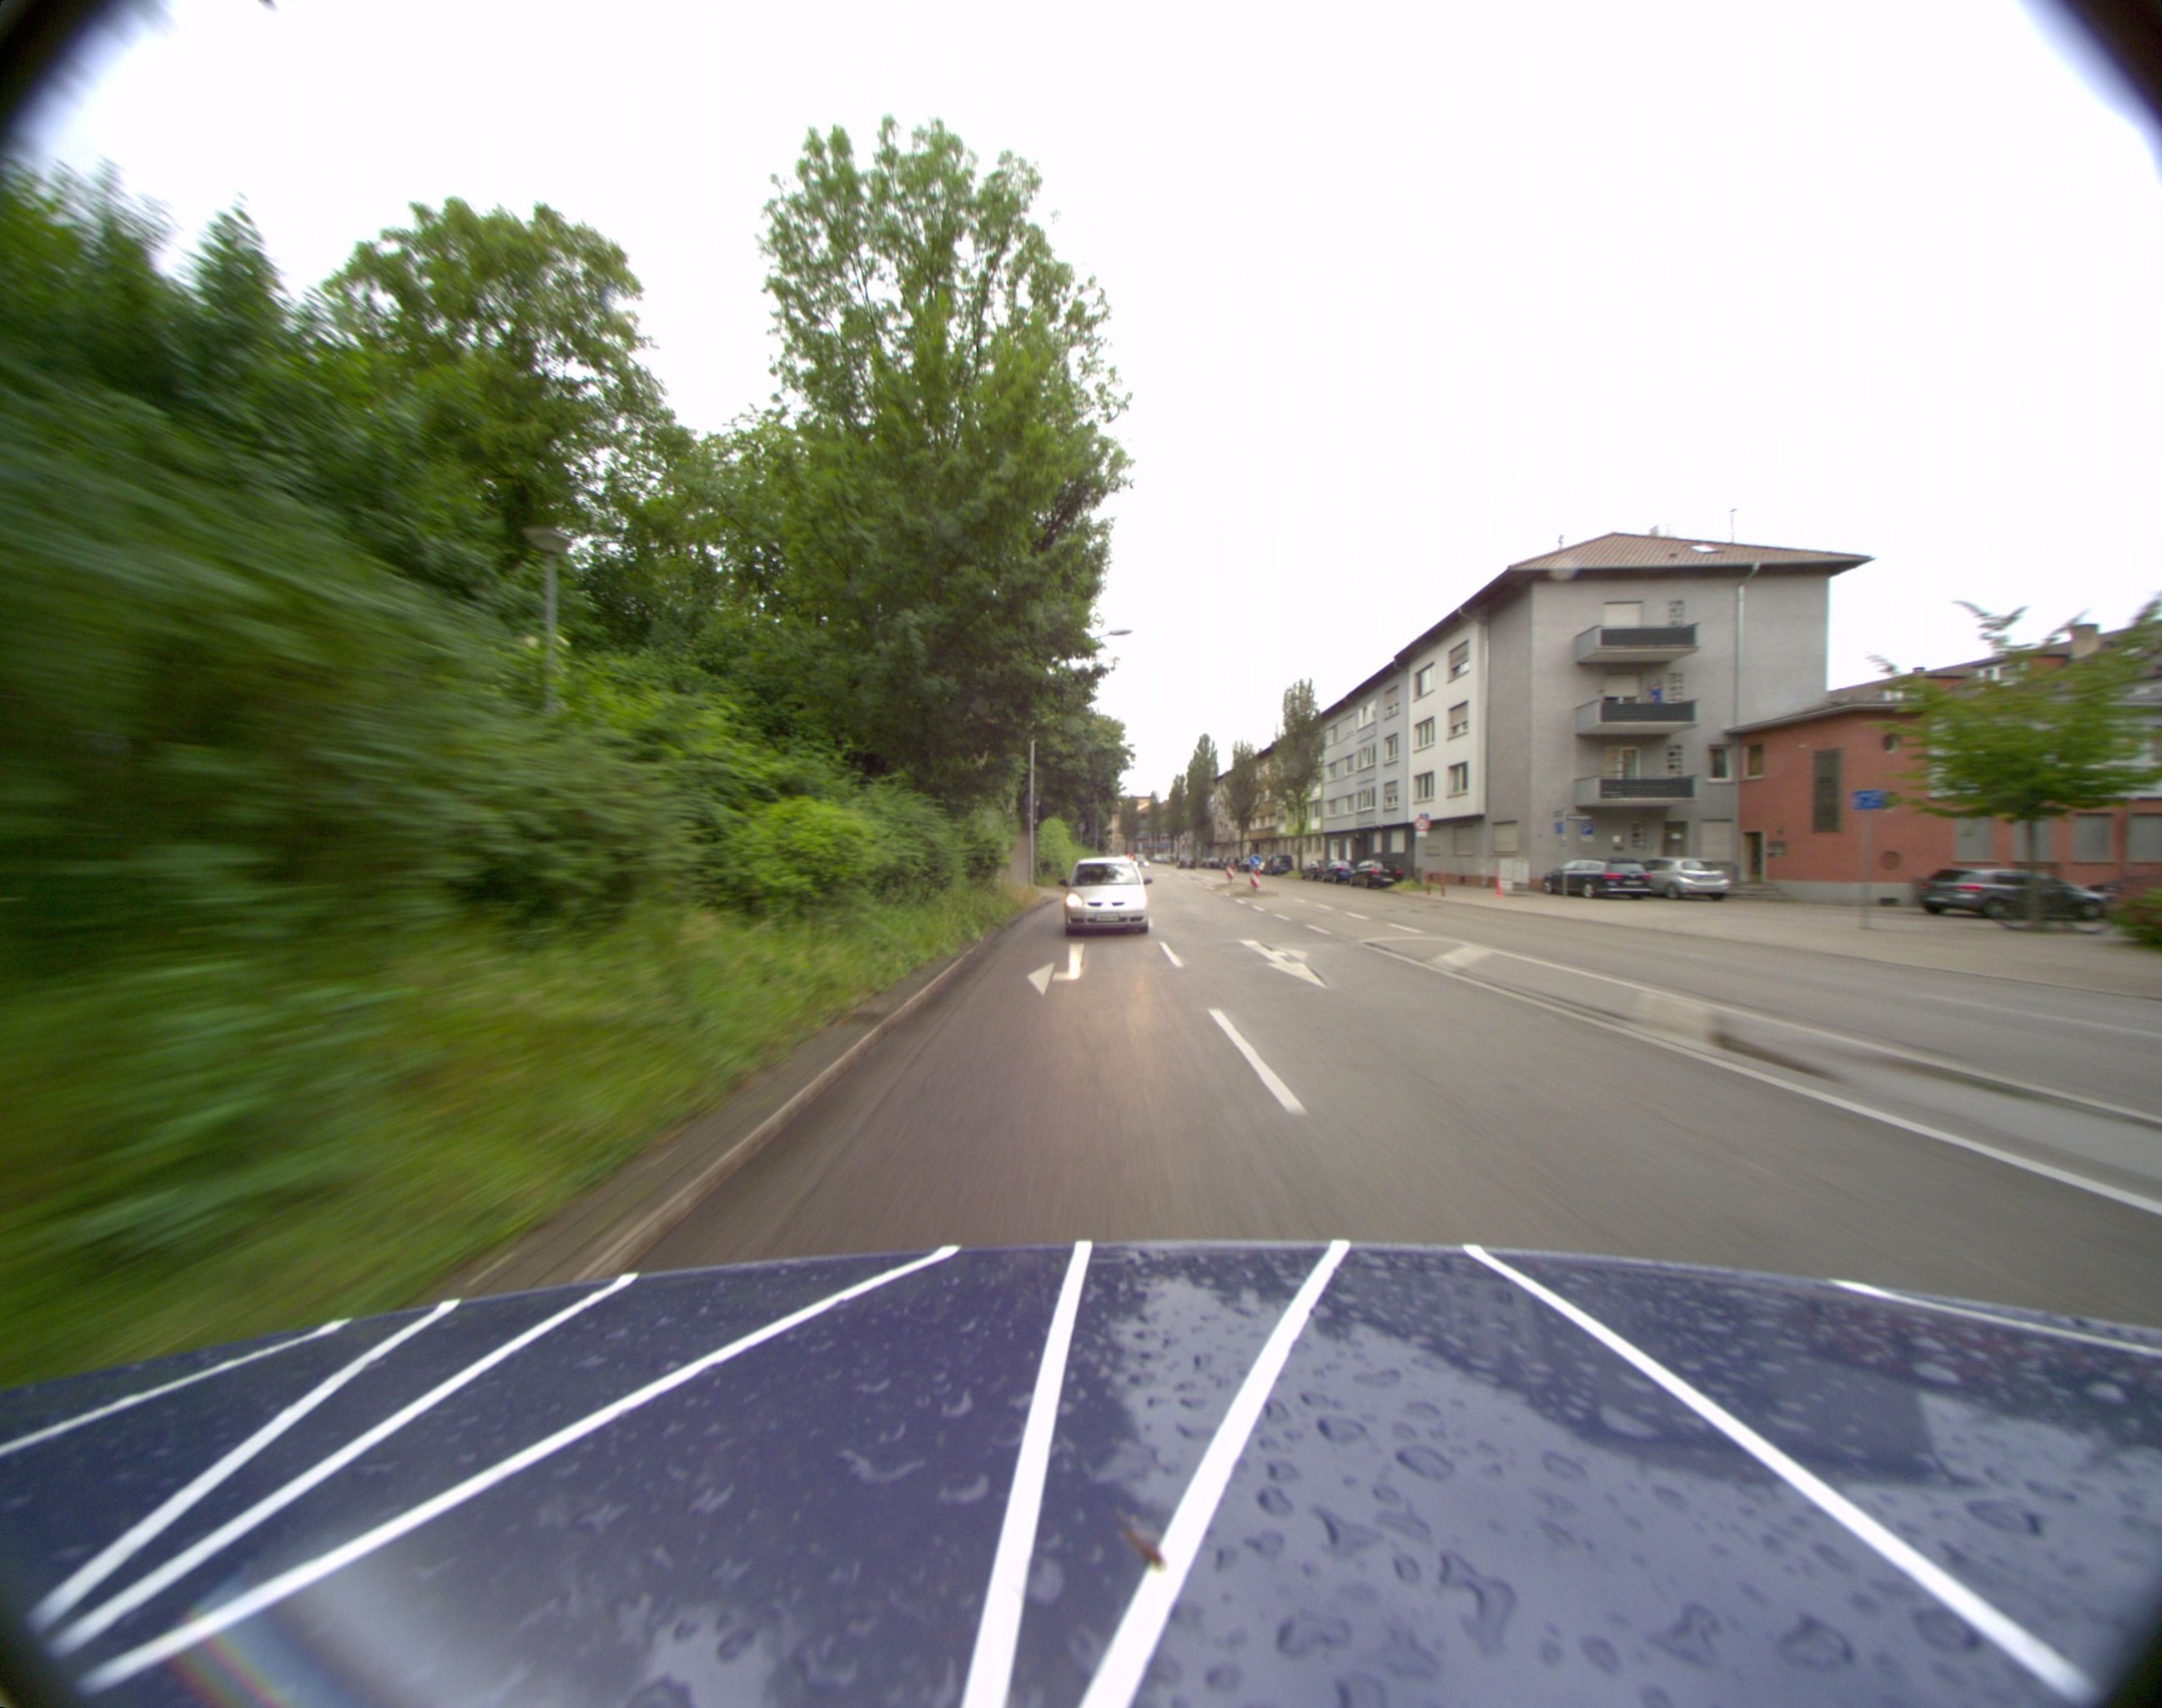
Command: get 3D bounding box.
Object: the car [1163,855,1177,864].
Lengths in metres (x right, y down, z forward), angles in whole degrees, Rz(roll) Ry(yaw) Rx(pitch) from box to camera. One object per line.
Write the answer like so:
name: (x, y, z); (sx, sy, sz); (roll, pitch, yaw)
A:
car: (16.560, 0.985, 141.876); (1.868, 1.558, 4.172); (1, 0, -3)

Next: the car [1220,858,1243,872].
car: (17.121, 1.190, 86.462); (1.867, 1.504, 4.000); (1, 0, 1)

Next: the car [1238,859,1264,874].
car: (16.581, 1.235, 74.401); (1.547, 1.338, 4.253); (2, 0, 1)

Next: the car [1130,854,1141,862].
car: (11.183, 0.899, 156.313); (1.868, 1.558, 4.172); (1, 0, -3)

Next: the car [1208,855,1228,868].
car: (17.178, 0.979, 95.414); (1.867, 1.558, 4.174); (1, 0, 2)

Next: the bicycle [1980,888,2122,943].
bicycle: (21.257, 1.317, 16.721); (0.532, 1.052, 1.935); (1, 0, -5)

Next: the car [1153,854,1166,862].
car: (15.795, 0.806, 152.746); (1.868, 1.558, 4.171); (1, 0, -5)

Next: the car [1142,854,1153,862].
car: (14.878, 0.895, 170.812); (1.868, 1.558, 3.956); (1, 0, -3)

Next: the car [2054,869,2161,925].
car: (32.592, 1.294, 22.867); (3.997, 1.478, 1.924); (1, 3, 0)

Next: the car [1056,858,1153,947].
car: (0.516, 0.951, 16.520); (1.755, 1.586, 4.170); (-4, -1, 2)

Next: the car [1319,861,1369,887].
car: (15.541, 1.154, 45.007); (1.726, 1.376, 3.927); (1, 0, 3)

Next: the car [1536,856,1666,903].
car: (19.082, 0.875, 28.179); (1.855, 1.477, 4.635); (-2, 1, 3)

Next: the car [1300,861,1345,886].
car: (15.997, 1.259, 50.601); (1.726, 1.472, 4.316); (2, 0, 3)

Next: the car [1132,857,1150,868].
car: (8.083, 1.136, 102.779); (1.999, 1.455, 3.999); (1, 0, -1)

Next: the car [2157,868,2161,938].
car: (26.660, 1.130, 16.473); (3.997, 1.582, 1.903); (1, -1, -1)

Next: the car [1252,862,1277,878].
car: (16.753, 1.443, 69.481); (1.547, 1.369, 3.449); (1, -1, 2)

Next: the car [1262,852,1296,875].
car: (16.664, 0.790, 64.030); (1.904, 1.859, 4.316); (0, 0, 3)

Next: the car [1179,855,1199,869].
car: (12.037, 0.902, 85.222); (1.815, 1.507, 4.291); (2, 0, 3)

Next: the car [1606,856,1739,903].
car: (21.732, 0.880, 28.156); (1.733, 1.516, 4.230); (1, 0, 3)

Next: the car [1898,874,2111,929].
car: (27.737, 1.393, 22.933); (3.997, 1.404, 1.905); (1, 2, 0)

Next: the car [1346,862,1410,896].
car: (15.264, 1.225, 39.275); (1.851, 1.536, 4.248); (-2, 0, 4)
